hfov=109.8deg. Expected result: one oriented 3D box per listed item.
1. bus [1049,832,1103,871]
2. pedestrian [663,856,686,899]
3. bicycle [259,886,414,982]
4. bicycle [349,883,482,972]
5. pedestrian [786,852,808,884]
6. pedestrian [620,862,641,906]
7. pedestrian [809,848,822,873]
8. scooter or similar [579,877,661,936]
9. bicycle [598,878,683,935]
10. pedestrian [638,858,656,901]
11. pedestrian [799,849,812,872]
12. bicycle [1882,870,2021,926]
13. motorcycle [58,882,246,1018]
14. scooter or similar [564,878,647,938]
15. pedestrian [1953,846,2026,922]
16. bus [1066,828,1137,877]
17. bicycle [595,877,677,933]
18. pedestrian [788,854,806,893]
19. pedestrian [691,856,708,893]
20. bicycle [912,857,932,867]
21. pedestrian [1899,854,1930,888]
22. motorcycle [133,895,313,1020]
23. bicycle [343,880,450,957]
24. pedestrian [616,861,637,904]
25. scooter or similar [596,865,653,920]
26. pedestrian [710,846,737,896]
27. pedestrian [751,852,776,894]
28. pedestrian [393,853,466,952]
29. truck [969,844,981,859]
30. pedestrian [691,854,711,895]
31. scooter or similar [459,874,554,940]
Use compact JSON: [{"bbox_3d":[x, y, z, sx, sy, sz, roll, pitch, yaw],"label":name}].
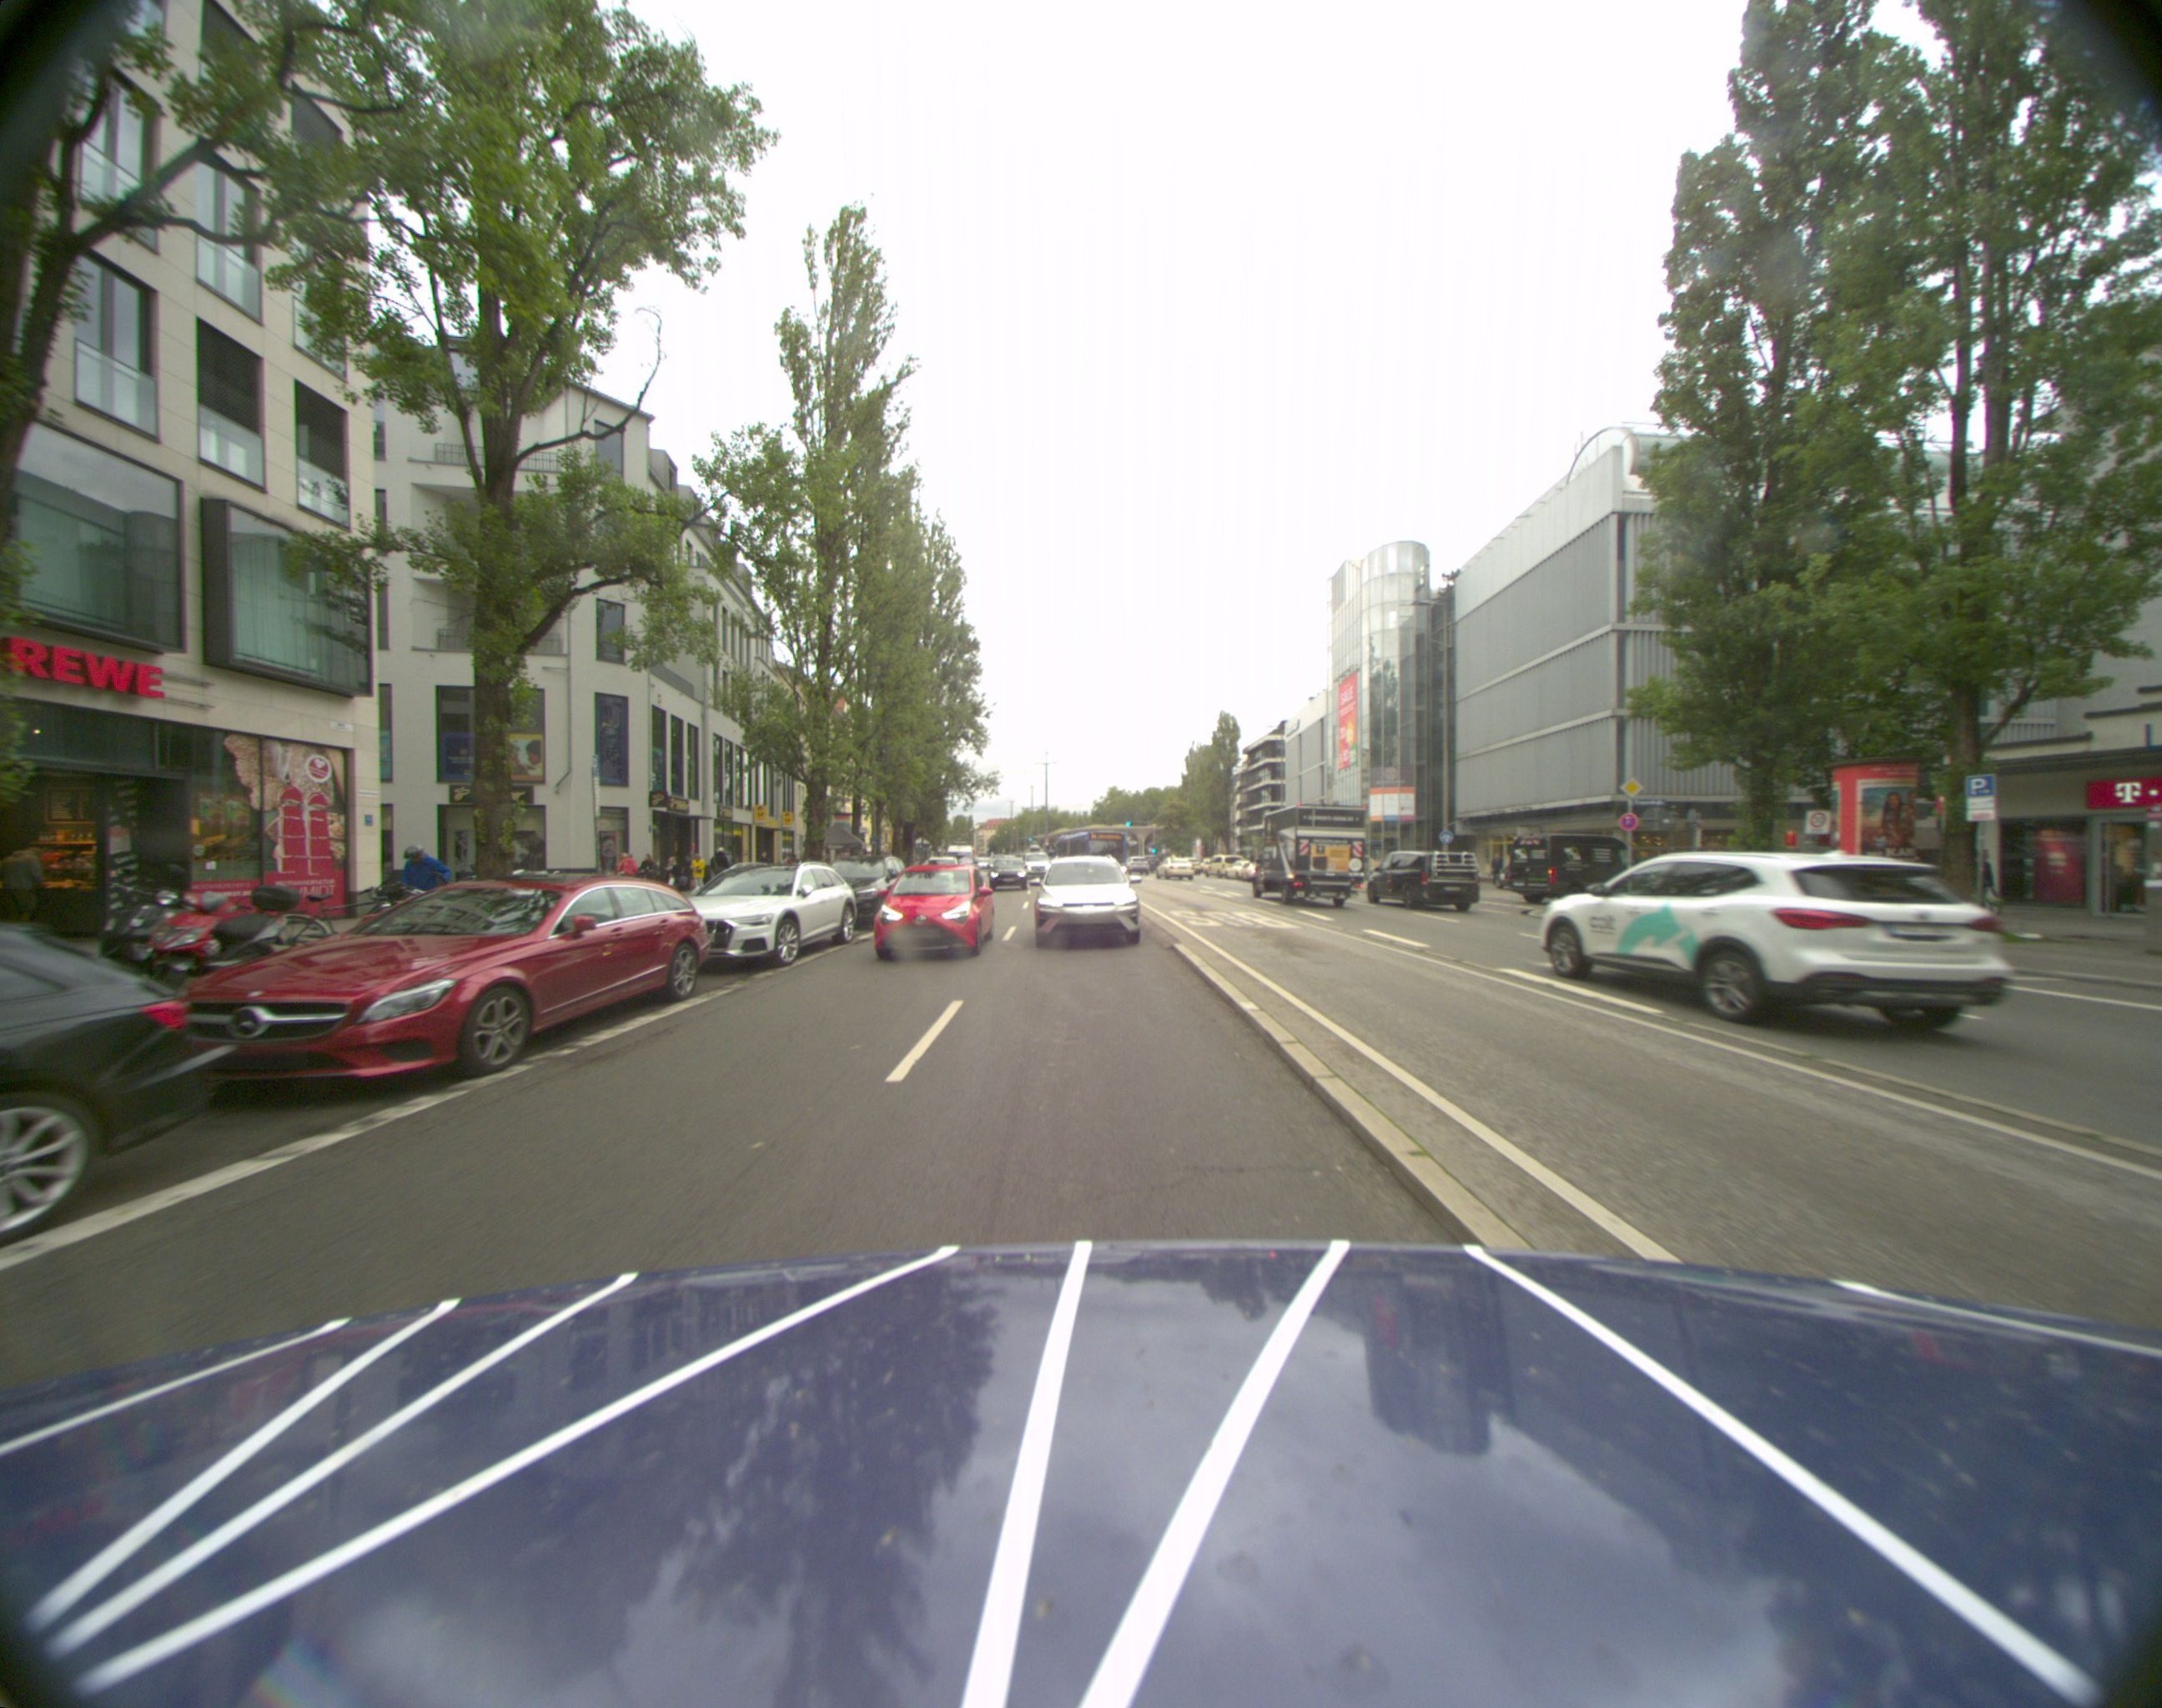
[{"bbox_3d":[-0.587,-0.282,63.716,2.943,2.927,11.203,-1,1,-8],"label":"bus"},{"bbox_3d":[-14.963,0.854,27.990,0.491,1.558,0.570,0,1,10],"label":"pedestrian"},{"bbox_3d":[-10.367,1.076,10.626,0.546,1.182,1.457,1,1,33],"label":"bicycle"},{"bbox_3d":[-9.196,0.973,10.600,0.644,1.057,1.769,0,0,-14],"label":"bicycle"},{"bbox_3d":[-14.745,0.733,39.490,0.802,1.627,1.023,0,0,-6],"label":"pedestrian"},{"bbox_3d":[-16.890,1.115,28.482,0.550,1.615,0.506,-2,2,-23],"label":"pedestrian"},{"bbox_3d":[-18.015,0.426,51.482,0.693,1.639,0.797,0,0,-9],"label":"pedestrian"},{"bbox_3d":[-9.414,1.069,15.536,1.439,1.194,0.311,0,1,-5],"label":"scooter or similar"},{"bbox_3d":[-9.453,1.116,16.325,1.483,1.200,0.535,0,1,-5],"label":"bicycle"},{"bbox_3d":[-16.756,0.970,29.328,0.508,1.615,0.547,-3,2,-36],"label":"pedestrian"},{"bbox_3d":[-18.963,0.439,52.269,0.693,1.576,0.772,0,0,-9],"label":"pedestrian"},{"bbox_3d":[22.331,1.099,19.587,0.849,1.300,2.303,1,0,-4],"label":"bicycle"},{"bbox_3d":[-10.605,1.030,8.765,0.688,1.348,1.640,0,0,-23],"label":"motorcycle"},{"bbox_3d":[-9.547,1.077,15.274,1.439,1.194,0.311,0,1,-5],"label":"scooter or similar"},{"bbox_3d":[23.236,0.752,19.448,0.860,1.888,0.832,1,1,-3],"label":"pedestrian"},{"bbox_3d":[1.152,-0.156,51.950,2.943,2.927,11.203,-1,1,-8],"label":"bus"},{"bbox_3d":[-9.809,1.118,16.782,1.483,1.200,0.535,0,1,-5],"label":"bicycle"},{"bbox_3d":[-12.659,0.856,33.880,0.671,1.715,0.768,0,1,-16],"label":"pedestrian"},{"bbox_3d":[-16.296,0.875,32.453,0.566,1.567,0.675,0,1,-32],"label":"pedestrian"},{"bbox_3d":[-20.066,0.965,95.729,2.369,1.220,0.628,0,0,-7],"label":"bicycle"},{"bbox_3d":[41.219,0.827,37.576,0.717,1.662,0.752,0,1,-12],"label":"pedestrian"},{"bbox_3d":[-9.467,1.083,8.480,0.688,1.149,1.640,0,0,-23],"label":"motorcycle"},{"bbox_3d":[-11.128,1.028,12.353,1.764,1.165,0.452,0,1,18],"label":"bicycle"},{"bbox_3d":[-17.316,1.068,28.943,0.550,1.615,0.506,-3,2,-44],"label":"pedestrian"},{"bbox_3d":[-10.392,0.875,17.300,1.053,1.219,0.379,0,1,-4],"label":"scooter or similar"},{"bbox_3d":[-13.969,0.665,29.679,0.648,1.913,0.925,1,1,-5],"label":"pedestrian"},{"bbox_3d":[-12.760,0.742,30.570,0.716,1.666,0.783,1,1,-5],"label":"pedestrian"},{"bbox_3d":[-11.049,0.802,12.899,0.792,1.610,0.613,1,1,18],"label":"pedestrian"},{"bbox_3d":[-24.794,-0.613,177.642,2.543,3.468,7.745,0,0,-9],"label":"truck"},{"bbox_3d":[-15.472,0.821,30.940,0.491,1.625,0.570,0,1,10],"label":"pedestrian"},{"bbox_3d":[-10.926,0.992,14.474,1.388,1.204,0.554,0,1,1],"label":"scooter or similar"}]
